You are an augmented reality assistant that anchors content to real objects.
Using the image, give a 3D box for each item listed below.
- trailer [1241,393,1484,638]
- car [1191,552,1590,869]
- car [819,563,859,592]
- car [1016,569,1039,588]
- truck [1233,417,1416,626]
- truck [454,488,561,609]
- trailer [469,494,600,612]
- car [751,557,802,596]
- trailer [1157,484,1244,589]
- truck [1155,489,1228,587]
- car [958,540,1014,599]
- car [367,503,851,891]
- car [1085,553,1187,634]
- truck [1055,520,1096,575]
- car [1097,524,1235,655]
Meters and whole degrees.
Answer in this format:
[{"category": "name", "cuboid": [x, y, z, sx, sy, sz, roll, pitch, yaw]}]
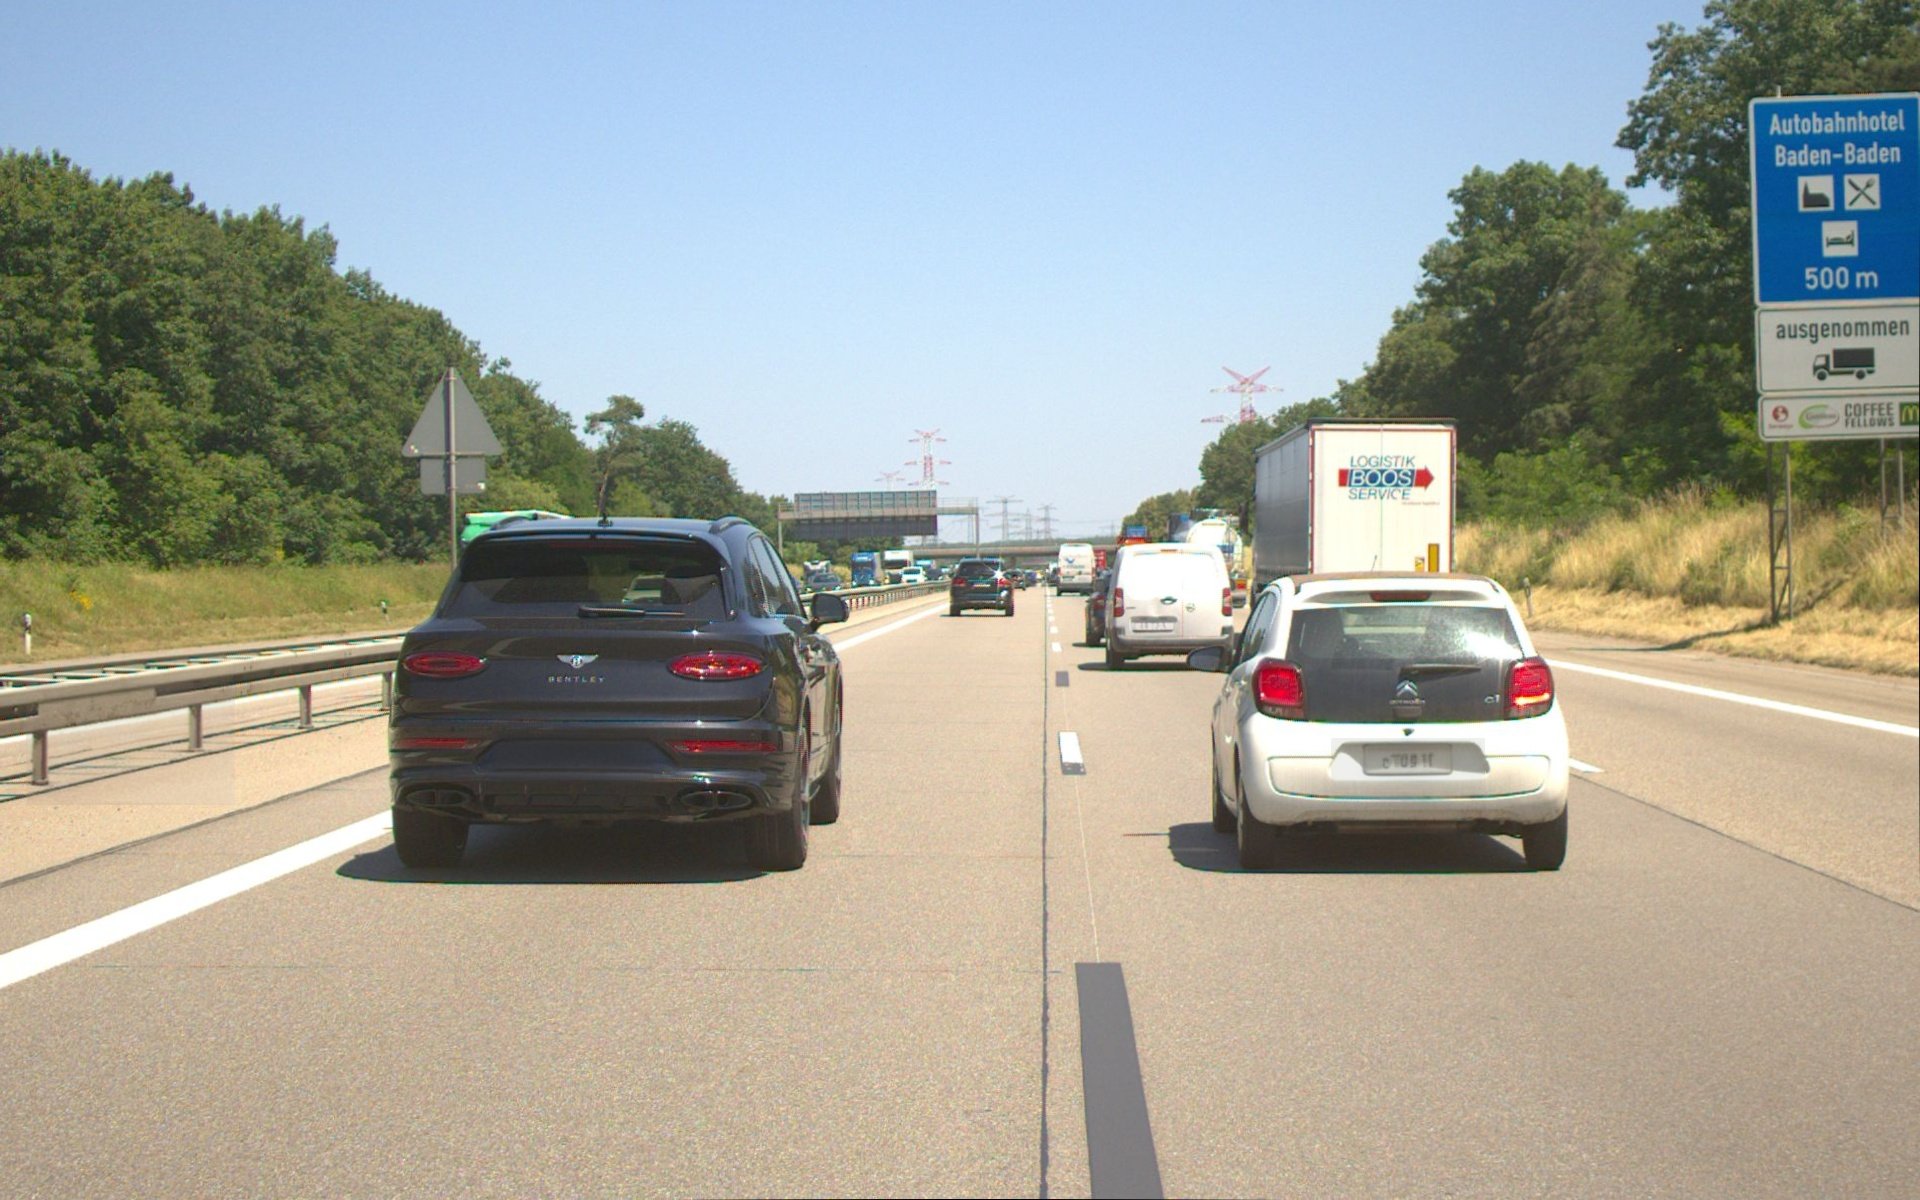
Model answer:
[{"category": "trailer", "cuboid": [7.524, -1.520, 66.337, 3.286, 4.205, 13.565, 1, 1, 1]}, {"category": "car", "cuboid": [2.176, 0.498, 18.318, 1.708, 1.490, 4.024, 0, 1, 1]}, {"category": "car", "cuboid": [-6.293, -1.185, 178.923, 1.709, 1.406, 5.083, -3, 1, 1]}, {"category": "car", "cuboid": [4.618, -1.485, 234.902, 1.607, 1.296, 3.674, 0, 1, 1]}, {"category": "truck", "cuboid": [7.655, -1.618, 72.885, 3.286, 4.205, 6.007, 1, 0, 1]}, {"category": "truck", "cuboid": [-16.421, -1.864, 125.150, 2.700, 4.147, 6.296, -3, 1, 1]}, {"category": "trailer", "cuboid": [-16.263, -1.798, 132.424, 2.705, 4.147, 14.338, -3, 1, 1]}, {"category": "car", "cuboid": [-7.495, -0.982, 140.843, 1.655, 1.495, 4.600, -3, 1, 1]}, {"category": "trailer", "cuboid": [9.138, -2.385, 131.707, 2.683, 3.824, 12.010, 1, 1, 1]}, {"category": "truck", "cuboid": [9.232, -2.440, 137.432, 2.683, 3.824, 4.444, 1, 0, 1]}, {"category": "car", "cuboid": [0.791, -0.927, 104.190, 1.626, 1.749, 3.804, 0, 1, 1]}, {"category": "car", "cuboid": [-1.682, 0.371, 18.450, 1.940, 1.746, 5.813, 0, 1, 1]}, {"category": "car", "cuboid": [3.281, -0.135, 64.772, 1.774, 1.467, 3.872, -1, 1, 1]}, {"category": "truck", "cuboid": [6.246, -2.809, 186.496, 2.060, 2.904, 7.003, -1, 1, 1]}, {"category": "car", "cuboid": [2.996, -0.171, 50.888, 1.814, 1.821, 5.110, -1, 1, 1]}]
